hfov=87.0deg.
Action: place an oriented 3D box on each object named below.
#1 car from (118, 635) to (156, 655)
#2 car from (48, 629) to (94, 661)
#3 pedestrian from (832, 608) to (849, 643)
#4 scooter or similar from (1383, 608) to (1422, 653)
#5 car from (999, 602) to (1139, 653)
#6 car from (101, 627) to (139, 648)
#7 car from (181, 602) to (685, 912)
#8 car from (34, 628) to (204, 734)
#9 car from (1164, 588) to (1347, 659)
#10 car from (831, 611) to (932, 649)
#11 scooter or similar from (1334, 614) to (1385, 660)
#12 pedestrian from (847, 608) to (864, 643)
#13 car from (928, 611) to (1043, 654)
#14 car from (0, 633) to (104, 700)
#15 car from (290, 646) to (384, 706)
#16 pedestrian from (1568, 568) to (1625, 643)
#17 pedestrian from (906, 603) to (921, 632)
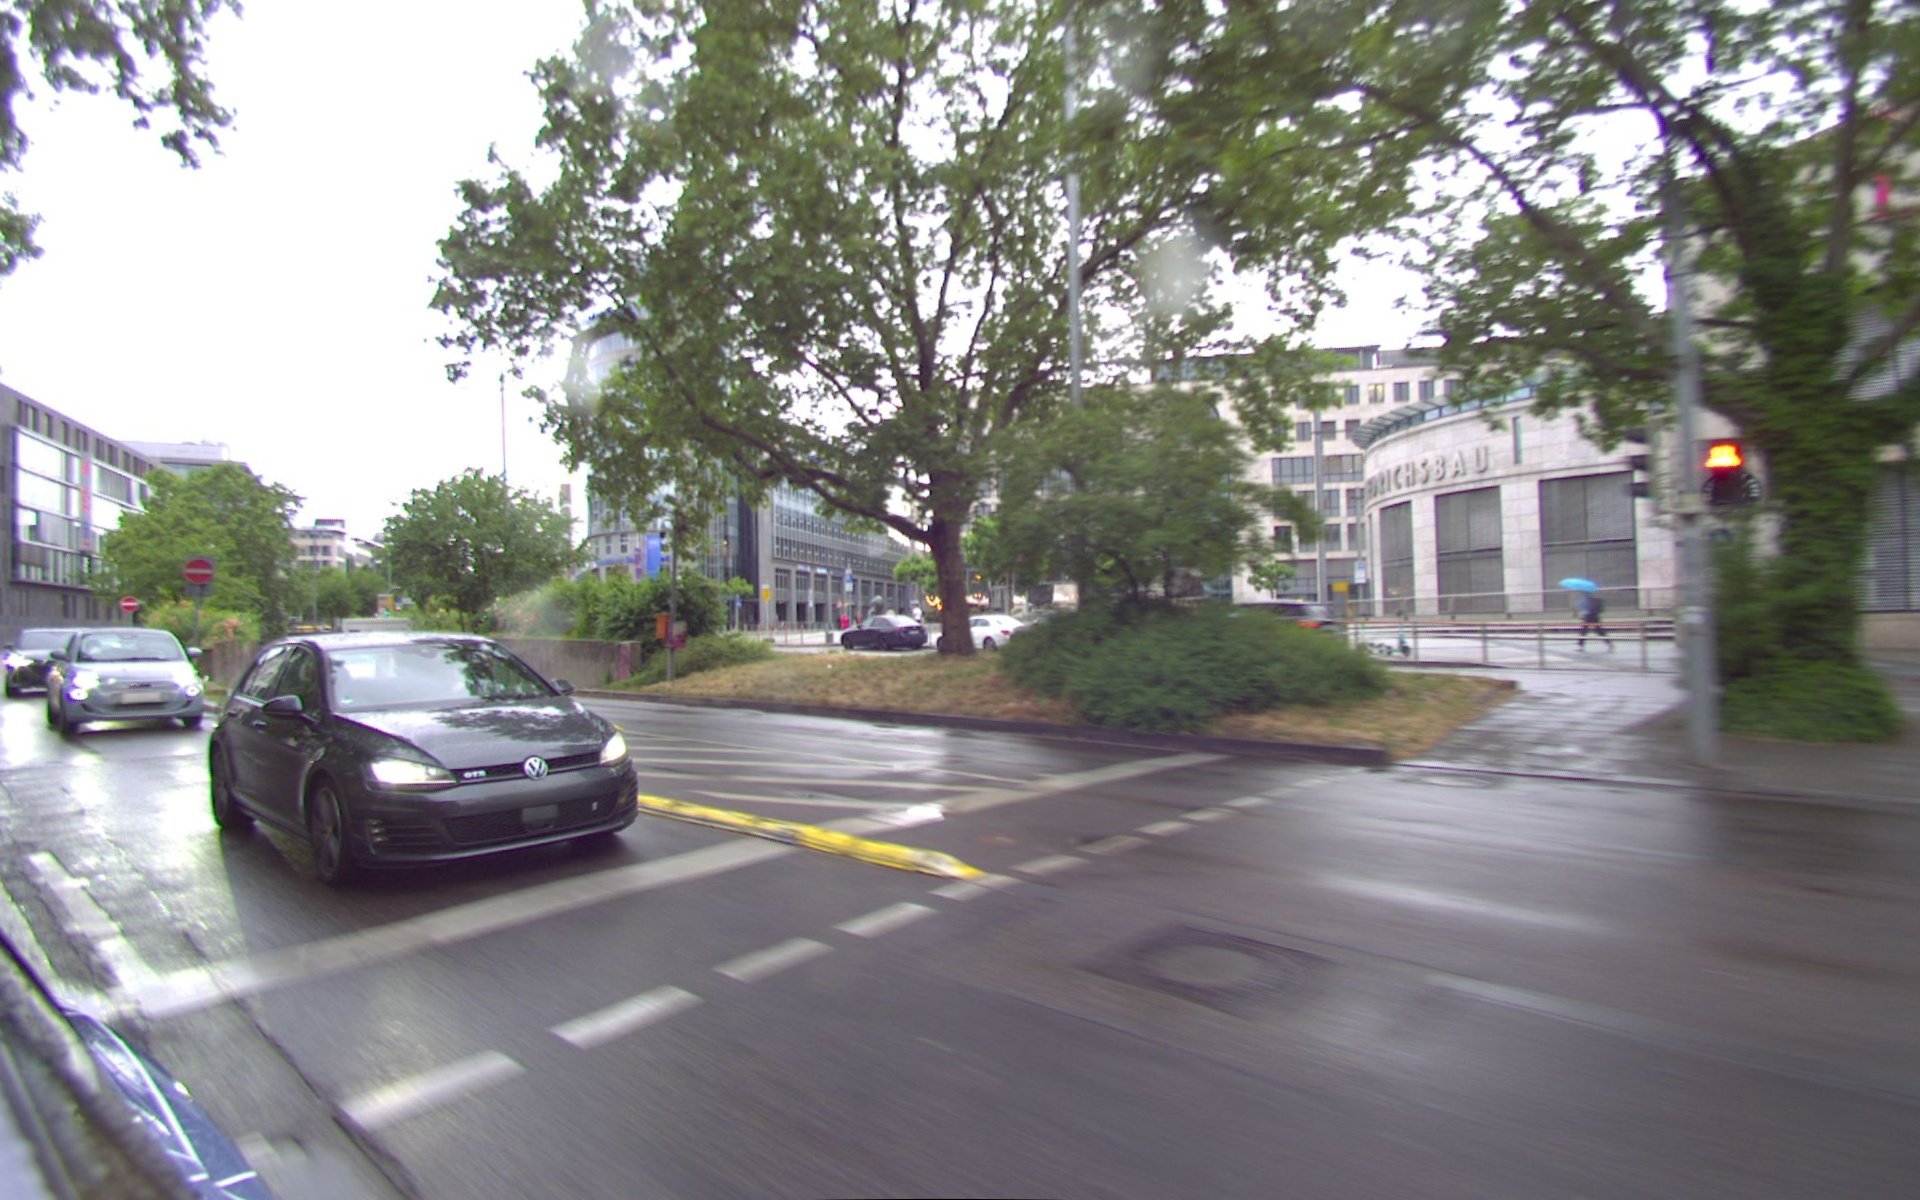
[{"bbox_3d":[-77.044,4.195,94.782,1.965,1.757,3.922,-1,-1,-27],"label":"car"},{"bbox_3d":[-52.502,2.659,59.802,1.969,1.757,3.915,-1,-1,-41],"label":"car"},{"bbox_3d":[-6.347,1.343,53.621,0.737,1.803,0.424,-2,0,-17],"label":"pedestrian"},{"bbox_3d":[11.774,0.799,26.978,0.437,1.134,1.610,-2,0,6],"label":"scooter or similar"},{"bbox_3d":[3.694,0.921,35.049,1.969,1.664,4.733,0,-1,-42],"label":"car"},{"bbox_3d":[-72.101,3.204,86.929,1.966,1.757,3.921,-1,-1,-31],"label":"car"},{"bbox_3d":[-3.800,0.816,6.935,4.123,1.463,1.765,-2,-1,43],"label":"car"},{"bbox_3d":[-13.125,1.187,15.735,3.494,1.452,1.590,-2,-3,43],"label":"car"},{"bbox_3d":[7.594,0.596,26.327,1.717,1.685,4.297,0,-1,-43],"label":"car"},{"bbox_3d":[-3.499,1.281,44.480,1.982,1.545,4.718,0,-1,-41],"label":"car"},{"bbox_3d":[11.045,1.012,27.948,1.406,1.195,0.583,-3,0,-34],"label":"scooter or similar"},{"bbox_3d":[-5.564,1.337,53.774,0.737,1.803,0.474,-2,0,-17],"label":"pedestrian"},{"bbox_3d":[0.927,1.241,39.439,1.982,1.545,4.442,0,-1,-41],"label":"car"},{"bbox_3d":[-21.497,1.526,23.922,1.692,1.452,3.497,1,-3,-44],"label":"car"},{"bbox_3d":[-19.335,2.296,31.334,1.755,1.608,4.005,0,-1,-42],"label":"car"},{"bbox_3d":[16.796,0.142,26.718,1.125,1.938,0.582,-2,0,41],"label":"pedestrian"},{"bbox_3d":[-2.584,0.971,56.179,0.570,1.639,0.563,0,-1,-41],"label":"pedestrian"}]
